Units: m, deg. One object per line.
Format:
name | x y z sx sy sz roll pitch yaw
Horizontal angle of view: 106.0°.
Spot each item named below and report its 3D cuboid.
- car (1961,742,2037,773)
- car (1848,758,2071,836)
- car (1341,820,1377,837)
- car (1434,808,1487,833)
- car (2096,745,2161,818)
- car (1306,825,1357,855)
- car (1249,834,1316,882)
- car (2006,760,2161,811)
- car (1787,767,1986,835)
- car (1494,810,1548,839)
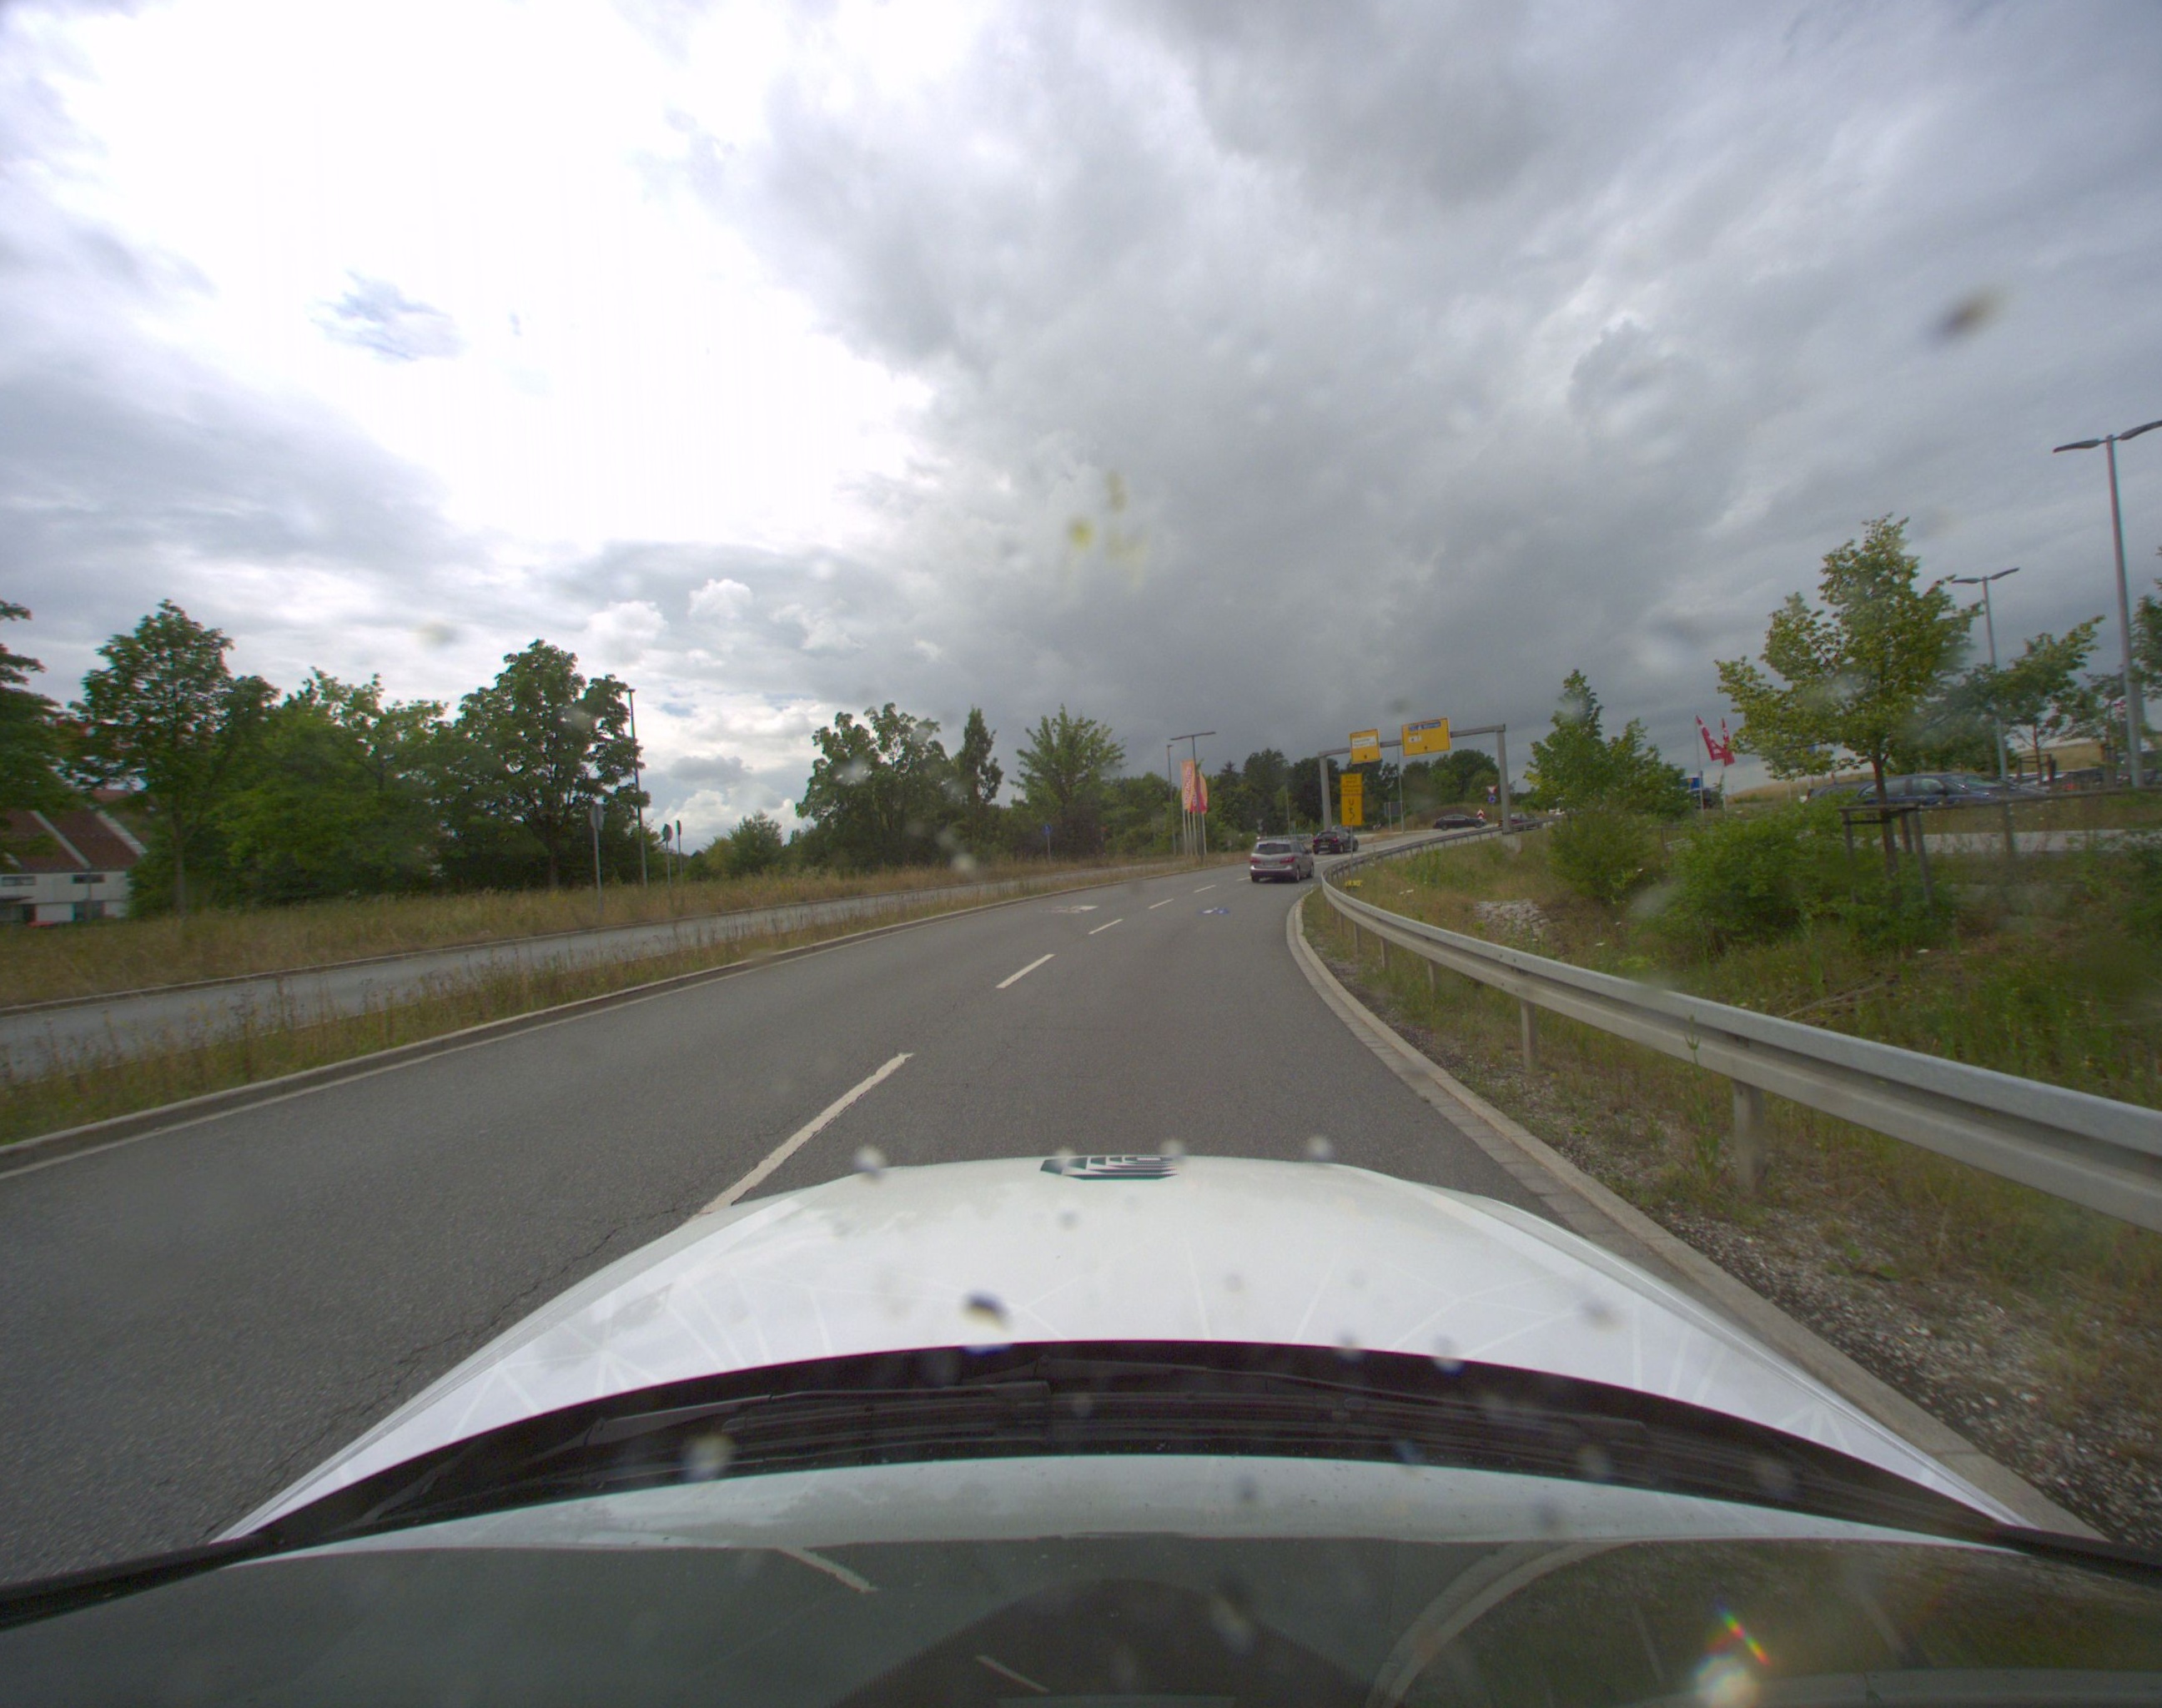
car | 60.173 -6.310 53.482 1.677 1.547 3.677 -3 -1 19
car | 23.578 -1.464 22.084 1.661 1.638 3.755 -4 -2 -8
car | 35.199 -3.234 103.174 4.176 1.664 1.842 -7 0 -29
car | 33.754 -2.971 72.394 4.104 1.783 1.914 -4 0 27
car | 29.631 -2.045 21.058 3.810 1.819 1.732 -6 -2 39
car | 15.300 -0.870 49.565 1.851 1.605 3.759 -4 0 34
car | 7.817 0.099 31.415 1.751 1.616 3.945 1 3 25
car | 37.789 -2.558 30.490 3.916 1.389 1.606 -7 -2 41
car | 27.538 -1.735 28.080 1.828 1.734 4.532 -5 -2 -12
car | 32.350 -2.154 59.878 3.972 1.837 1.642 -5 0 -32
